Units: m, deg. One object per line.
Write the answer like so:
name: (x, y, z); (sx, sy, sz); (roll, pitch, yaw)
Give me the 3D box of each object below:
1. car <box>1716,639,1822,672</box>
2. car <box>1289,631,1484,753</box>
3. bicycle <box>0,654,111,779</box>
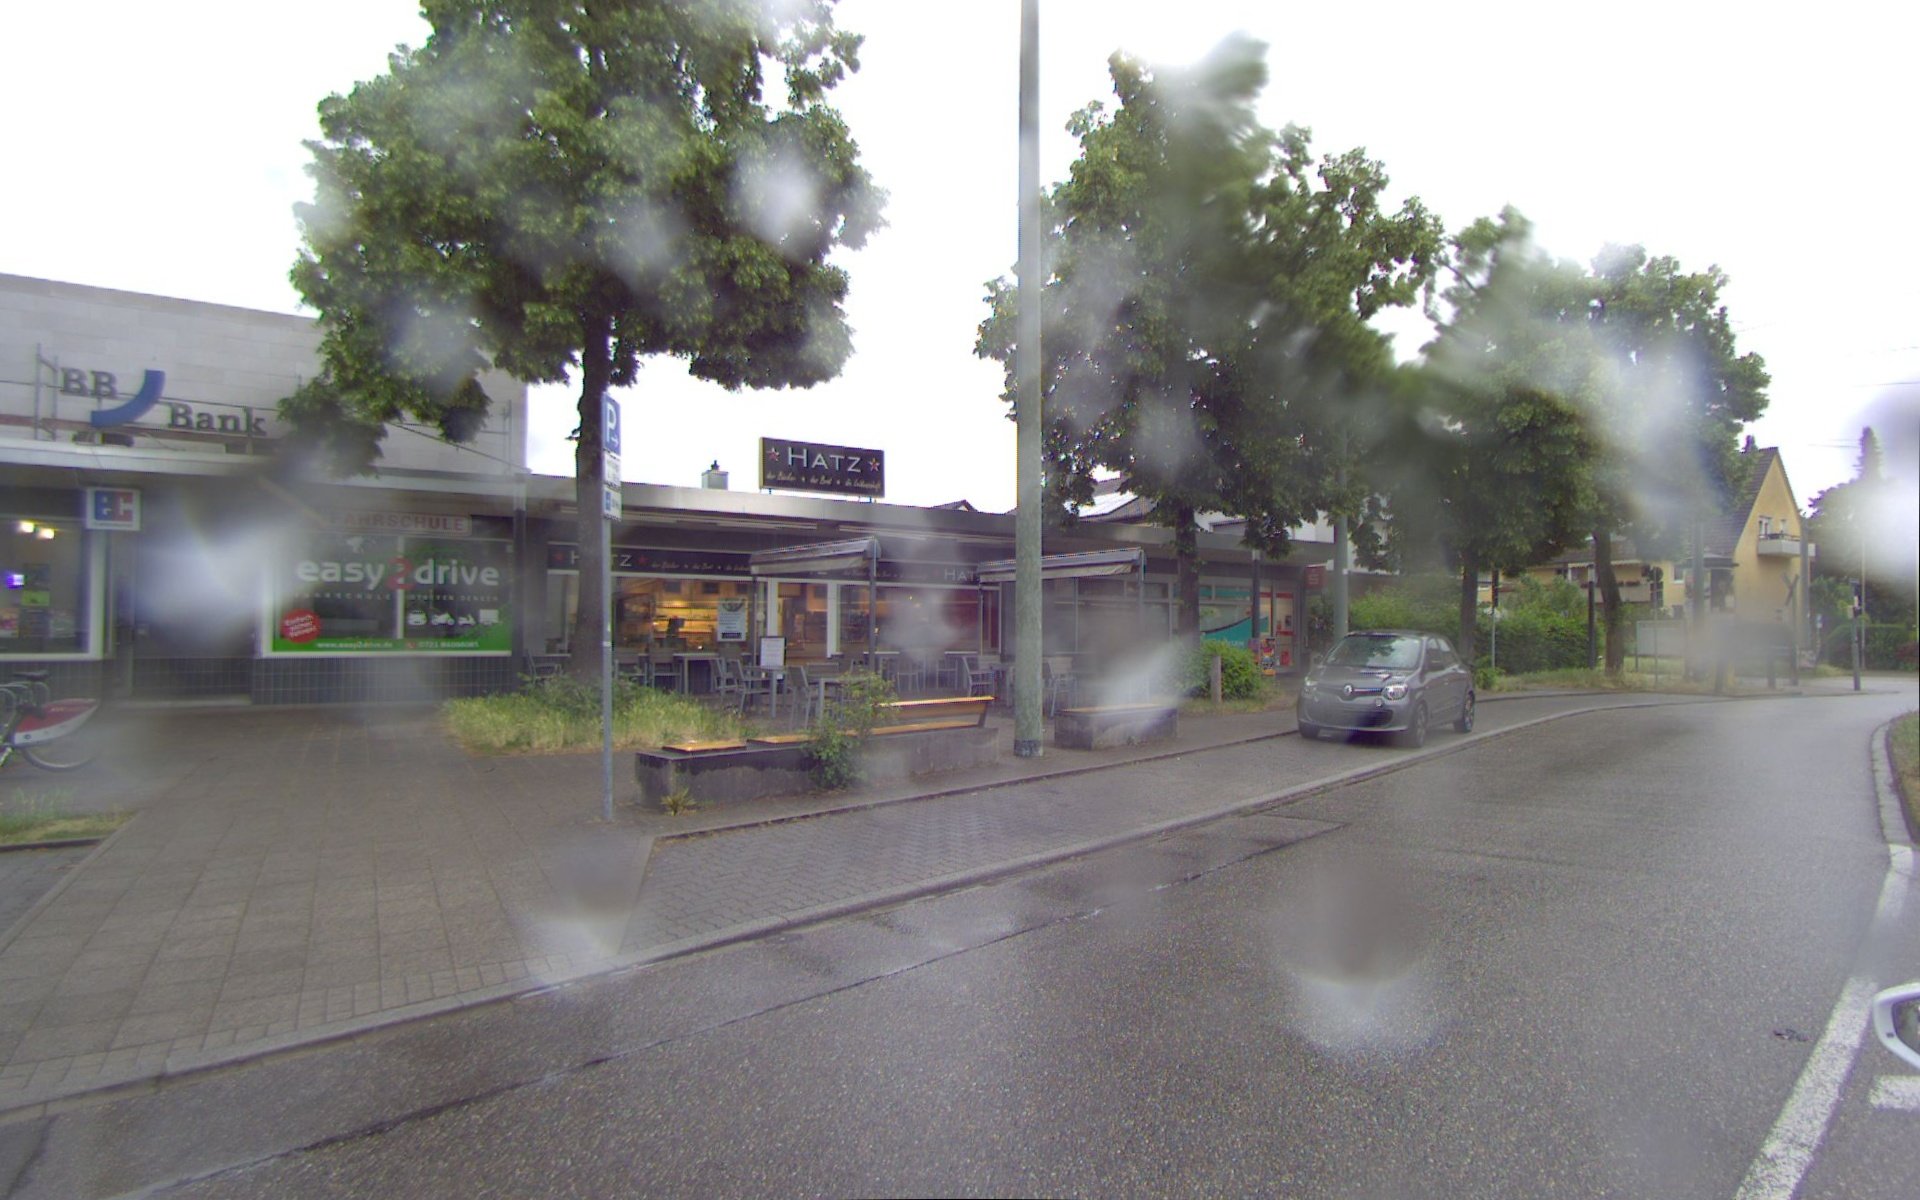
car: (41.975, 2.843, 52.190); (1.815, 1.476, 3.960); (2, 0, -35)
car: (6.384, 1.245, 14.840); (1.598, 1.516, 3.649); (2, 0, 40)
bicycle: (-9.001, 1.076, 9.265); (0.314, 1.122, 1.739); (2, 0, 43)
